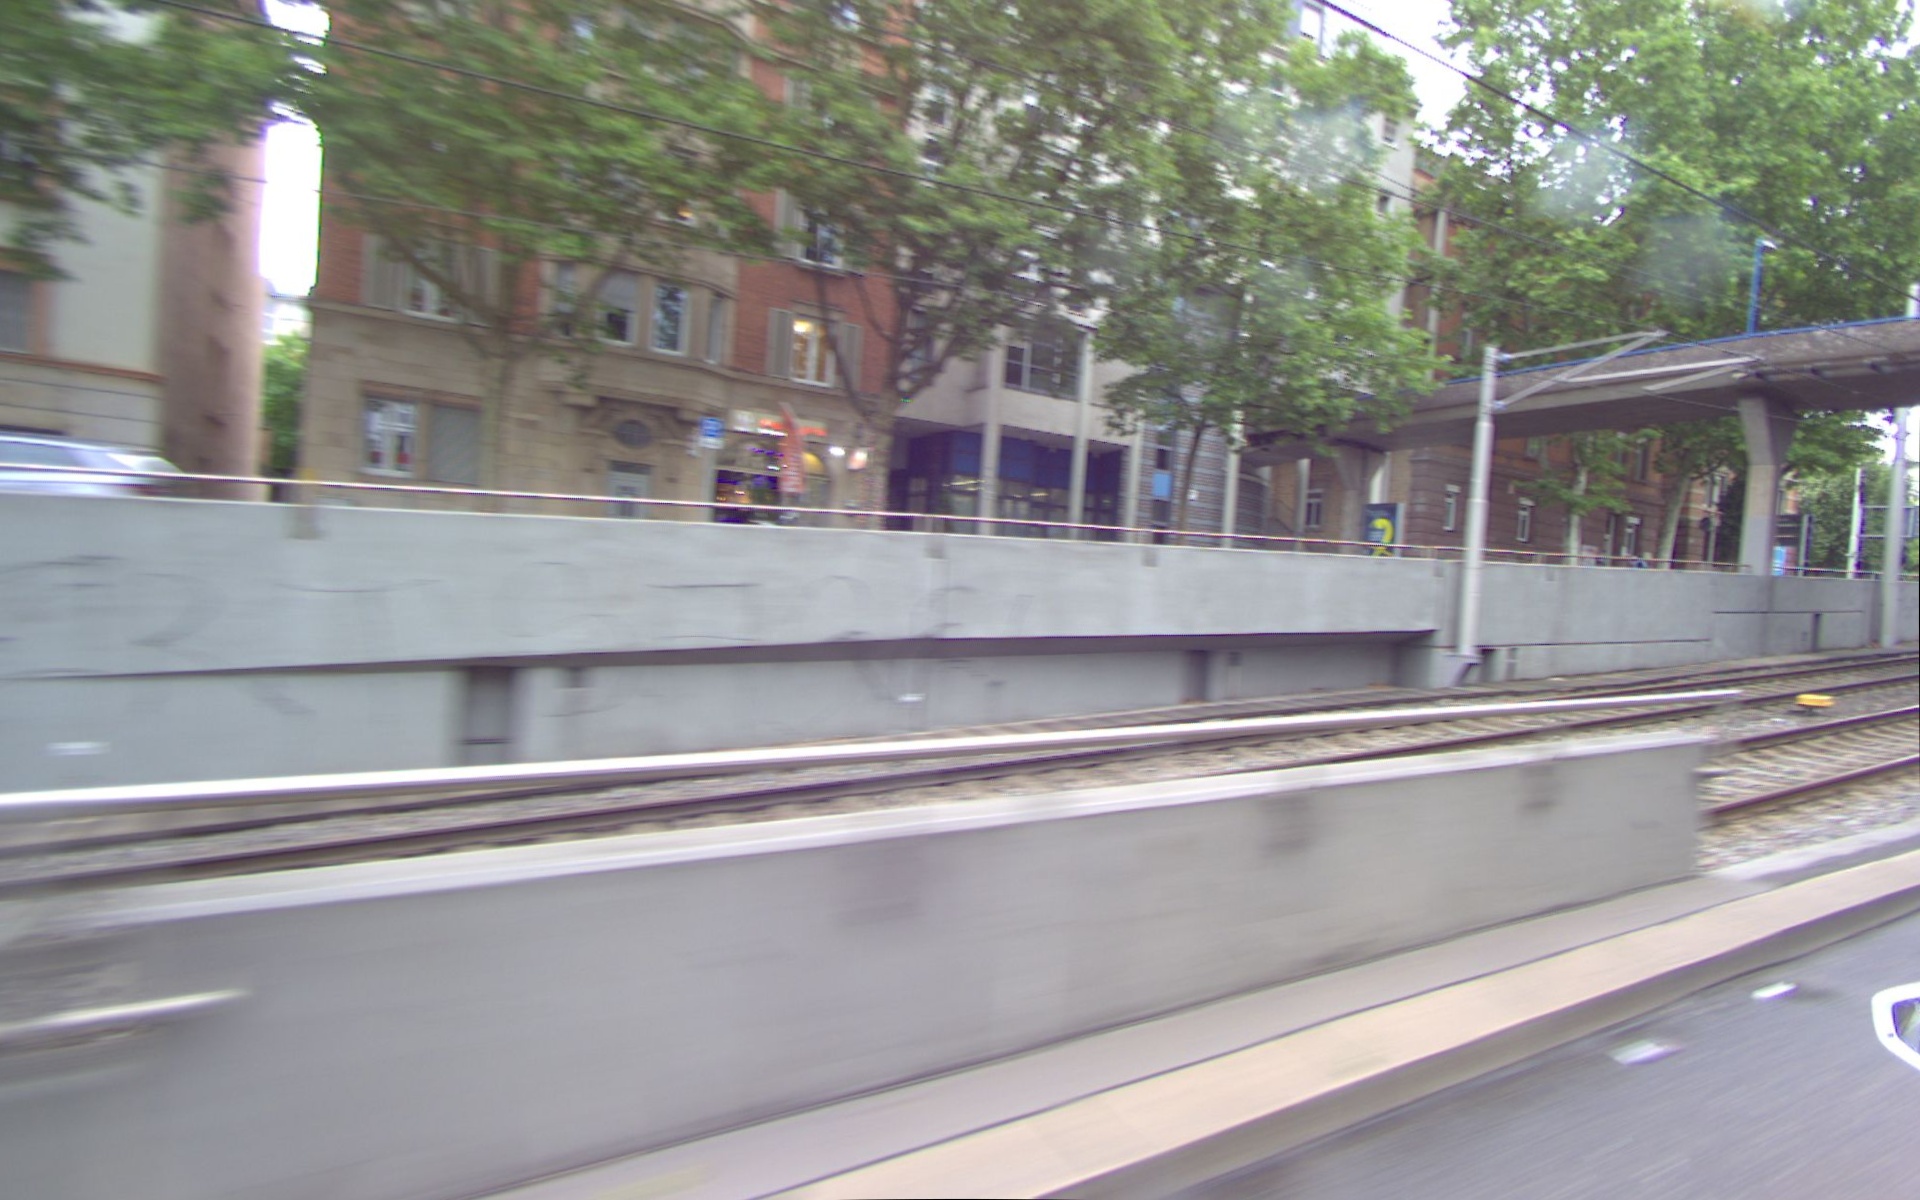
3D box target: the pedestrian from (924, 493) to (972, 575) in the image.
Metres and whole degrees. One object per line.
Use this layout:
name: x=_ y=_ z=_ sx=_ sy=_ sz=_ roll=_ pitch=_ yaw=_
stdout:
pedestrian: x=-0.320 y=-1.719 z=26.044 sx=0.923 sy=2.041 sz=0.666 roll=2 pitch=4 yaw=-27

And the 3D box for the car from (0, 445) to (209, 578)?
car: x=-11.985 y=-1.135 z=12.447 sx=4.058 sy=1.531 sz=1.786 roll=1 pitch=4 yaw=-29

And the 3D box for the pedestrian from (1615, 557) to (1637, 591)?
pedestrian: x=32.079 y=-1.255 z=48.385 sx=0.712 sy=1.646 sz=0.591 roll=0 pitch=1 yaw=-23

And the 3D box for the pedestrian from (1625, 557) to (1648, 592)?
pedestrian: x=32.025 y=-1.209 z=47.546 sx=0.712 sy=1.646 sz=0.591 roll=0 pitch=1 yaw=-23
